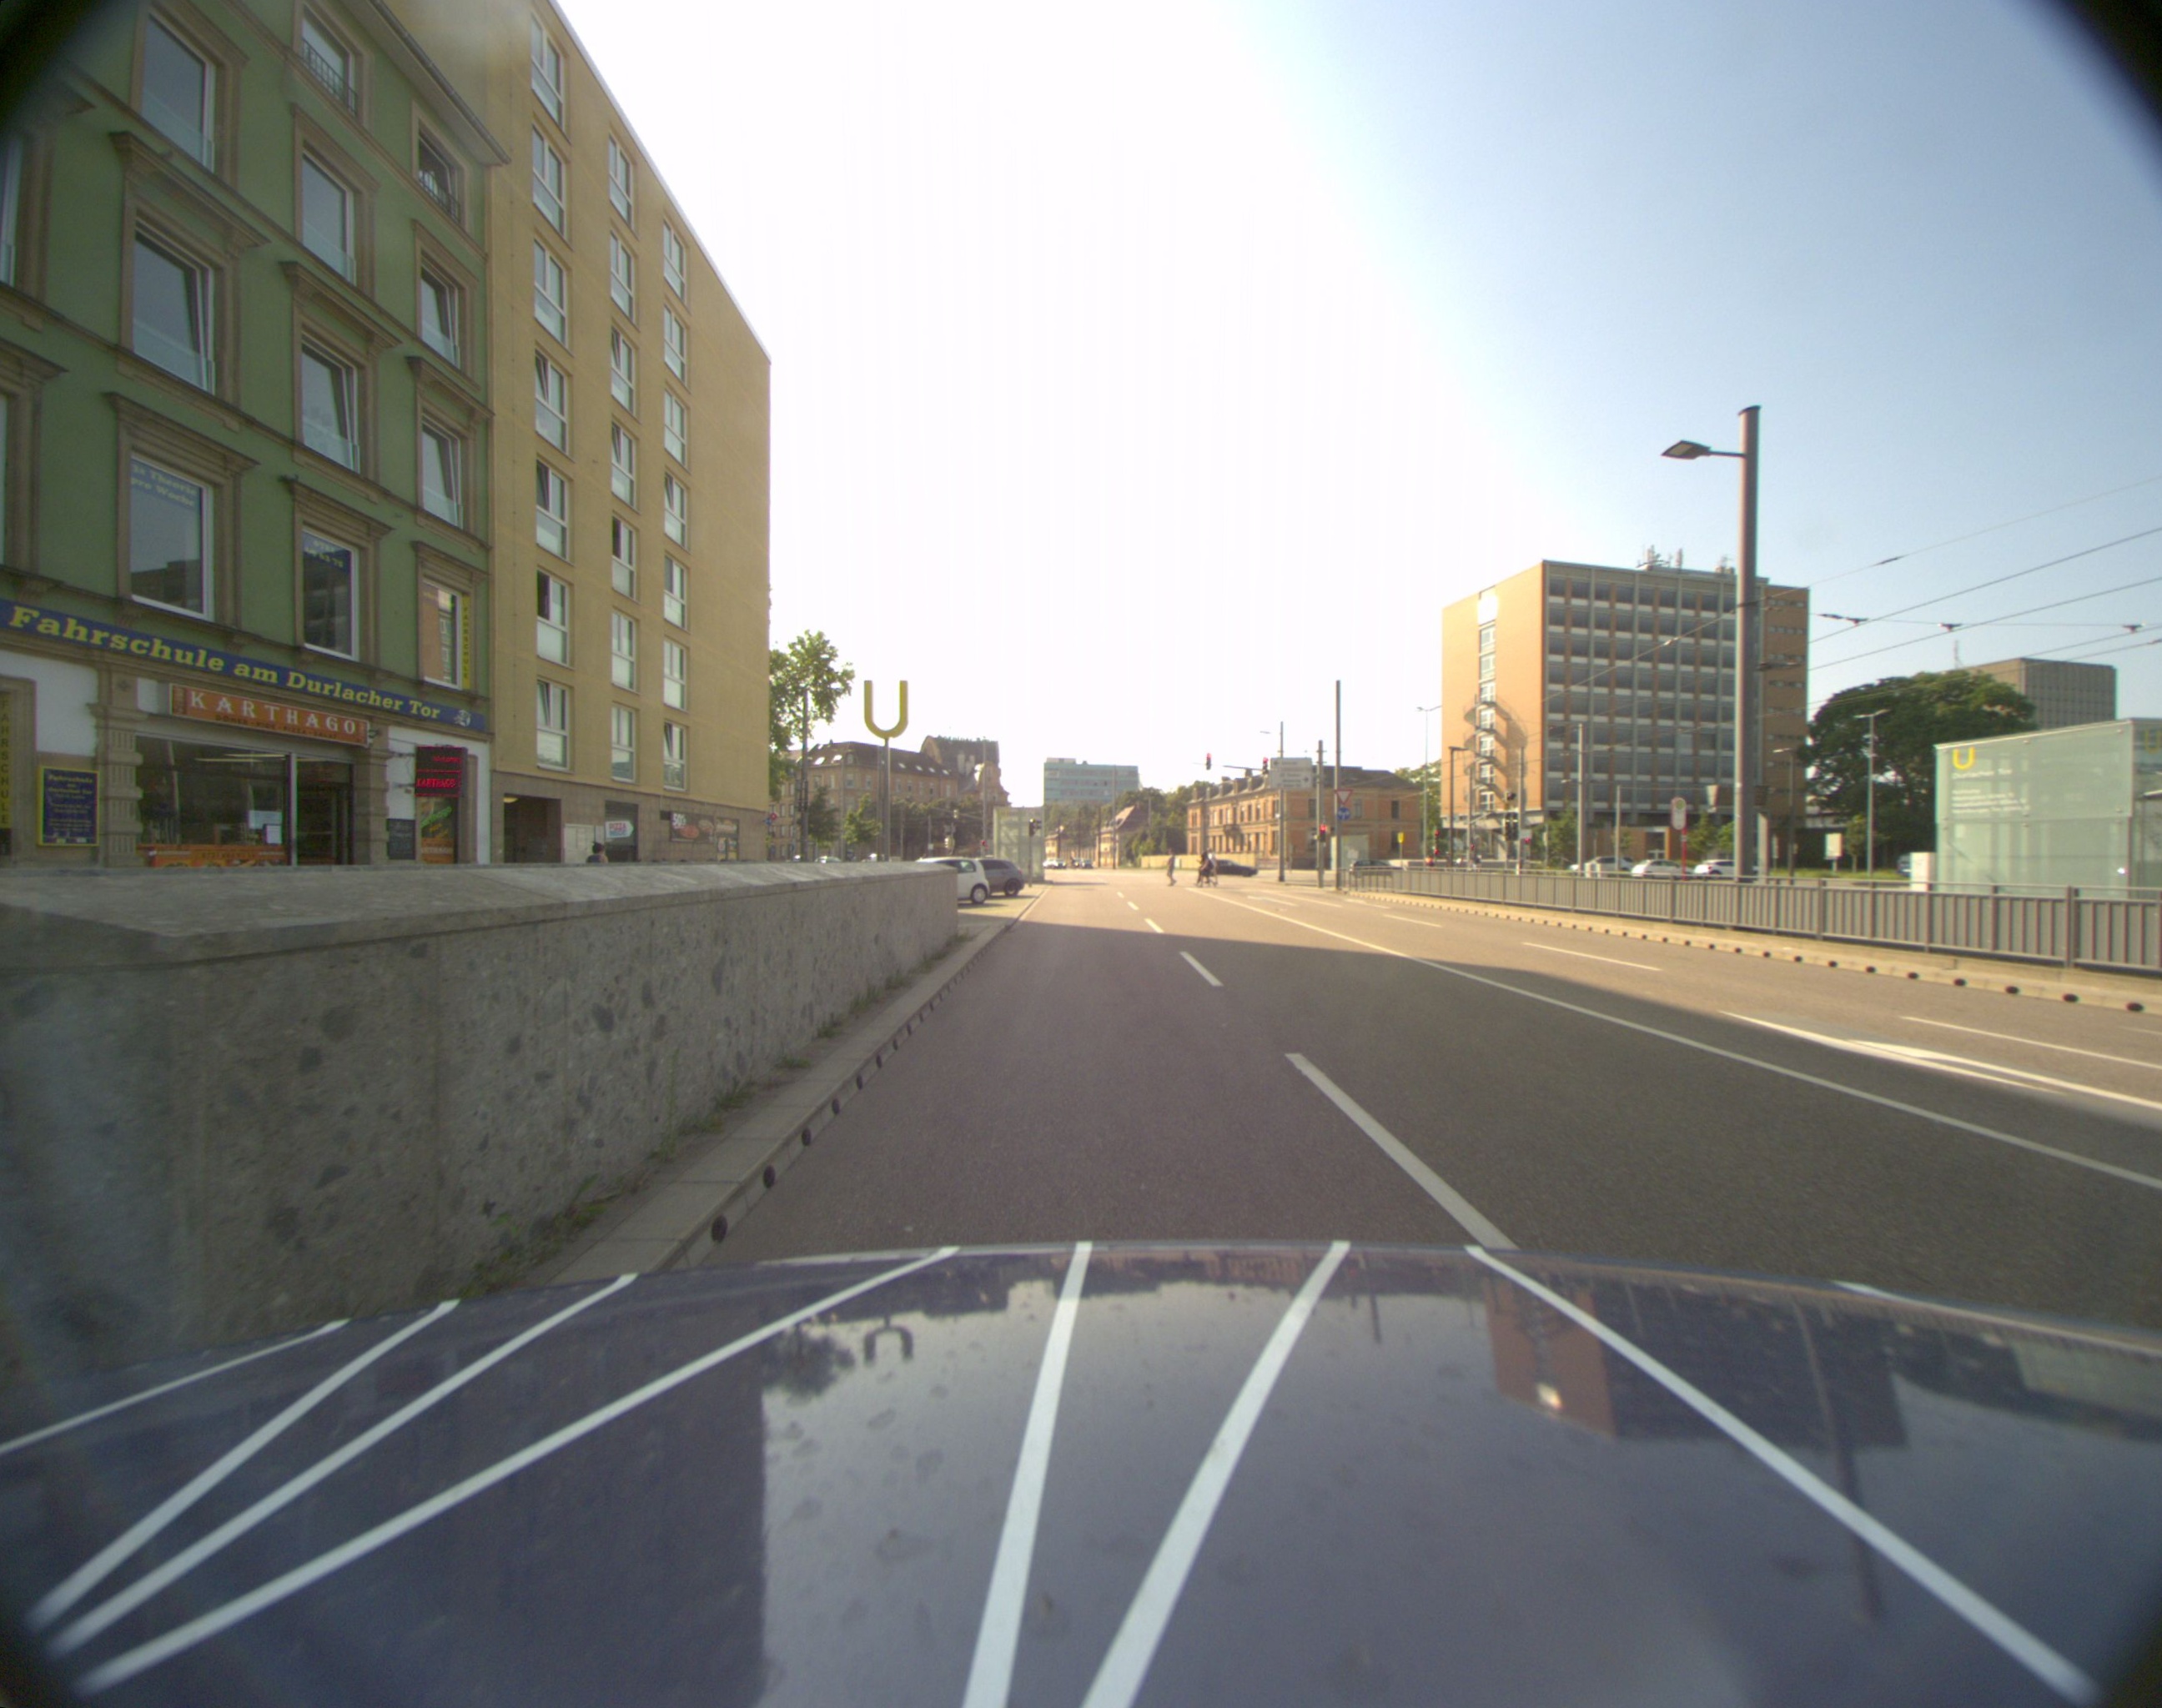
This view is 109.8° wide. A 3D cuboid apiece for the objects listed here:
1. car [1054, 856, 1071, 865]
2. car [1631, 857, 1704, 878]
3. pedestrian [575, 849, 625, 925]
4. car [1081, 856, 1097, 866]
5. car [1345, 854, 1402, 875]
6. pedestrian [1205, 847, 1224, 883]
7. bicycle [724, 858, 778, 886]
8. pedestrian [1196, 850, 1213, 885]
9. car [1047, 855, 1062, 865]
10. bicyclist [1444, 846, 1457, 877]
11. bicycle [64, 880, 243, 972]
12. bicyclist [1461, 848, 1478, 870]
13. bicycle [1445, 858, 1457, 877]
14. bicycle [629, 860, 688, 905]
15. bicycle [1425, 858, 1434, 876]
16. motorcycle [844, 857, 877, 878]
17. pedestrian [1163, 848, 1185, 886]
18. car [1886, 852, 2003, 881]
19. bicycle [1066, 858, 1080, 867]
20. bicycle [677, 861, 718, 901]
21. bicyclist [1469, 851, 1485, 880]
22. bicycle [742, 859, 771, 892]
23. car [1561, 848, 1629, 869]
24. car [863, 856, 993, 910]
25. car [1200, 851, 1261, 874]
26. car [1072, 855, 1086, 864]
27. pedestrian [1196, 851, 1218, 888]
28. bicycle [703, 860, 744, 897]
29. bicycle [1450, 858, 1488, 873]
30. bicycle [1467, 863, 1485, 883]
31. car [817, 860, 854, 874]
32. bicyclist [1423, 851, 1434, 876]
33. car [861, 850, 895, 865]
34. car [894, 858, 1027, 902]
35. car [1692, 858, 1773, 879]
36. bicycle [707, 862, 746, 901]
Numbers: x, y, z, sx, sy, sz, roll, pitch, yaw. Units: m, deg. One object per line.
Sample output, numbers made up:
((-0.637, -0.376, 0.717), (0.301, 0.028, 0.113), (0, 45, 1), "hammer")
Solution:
((-2.688, 0.937, 109.581), (1.927, 1.368, 3.997), (0, 0, -8), "car")
((40.689, 0.926, 52.779), (3.607, 1.407, 1.806), (0, 0, 20), "car")
((-10.365, 0.698, 16.392), (0.610, 1.619, 0.737), (0, 1, 0), "pedestrian")
((1.145, 0.940, 106.699), (1.693, 1.319, 3.997), (0, 0, -8), "car")
((22.277, 0.781, 57.867), (3.990, 1.586, 2.003), (0, 0, 23), "car")
((6.688, 0.553, 38.114), (0.834, 1.778, 0.729), (3, 1, 8), "pedestrian")
((-14.248, 0.762, 32.850), (2.022, 1.199, 0.671), (1, 0, 0), "bicycle")
((5.670, 0.633, 34.990), (0.634, 1.588, 0.468), (3, 1, -2), "pedestrian")
((-4.254, 0.942, 119.933), (1.927, 1.626, 3.997), (0, 0, -8), "car")
((24.045, 0.490, 49.427), (0.580, 1.963, 0.808), (0, 0, 15), "bicyclist")
((-12.910, 0.961, 10.662), (0.384, 1.127, 1.719), (0, 0, 1), "bicycle")
((25.808, 0.312, 50.523), (0.969, 1.466, 1.089), (1, 1, 25), "bicyclist")
((24.031, 0.865, 49.387), (0.376, 1.158, 1.861), (0, 0, 16), "bicycle")
((-12.389, 0.808, 22.349), (0.604, 1.254, 1.997), (0, 0, 0), "bicycle")
((22.756, 0.862, 49.618), (0.311, 1.158, 1.501), (0, 0, 16), "bicycle")
((-12.780, 0.763, 44.061), (0.704, 1.140, 2.304), (0, 0, 16), "motorcycle")
((4.227, 0.579, 34.580), (0.816, 1.683, 0.651), (3, 1, 0), "pedestrian")
((56.544, 0.811, 49.876), (4.761, 1.817, 1.806), (0, 0, 23), "car")
((-0.996, 1.054, 94.594), (1.770, 1.187, 0.401), (0, 1, 5), "bicycle")
((-12.537, 0.856, 24.893), (0.604, 1.254, 1.996), (0, 0, -8), "bicycle")
((22.817, 0.641, 43.813), (0.588, 1.647, 0.791), (0, 1, 10), "bicyclist")
((-12.875, 0.847, 30.193), (0.470, 1.254, 1.636), (0, 0, -1), "bicycle")
((42.627, 0.394, 63.150), (4.281, 1.696, 1.955), (0, -2, 16), "car")
((-4.626, 0.825, 23.177), (3.535, 1.455, 1.618), (-1, 1, -42), "car")
((12.132, 0.656, 61.587), (4.564, 1.841, 2.003), (0, 0, 22), "car")
((-0.316, 0.865, 112.887), (1.693, 1.319, 3.997), (0, 0, -8), "car")
((5.508, 0.671, 33.152), (0.810, 1.539, 0.548), (3, 1, 1), "pedestrian")
((-12.678, 0.856, 27.028), (0.604, 1.254, 1.849), (0, 0, -1), "bicycle")
((25.773, 0.762, 50.496), (2.192, 0.983, 0.530), (1, 2, 24), "bicycle")
((22.753, 1.065, 43.811), (0.402, 1.103, 1.748), (0, 0, 11), "bicycle")
((-26.569, 1.352, 82.201), (3.621, 1.433, 1.807), (0, 0, 31), "car")
((22.690, 0.619, 49.576), (0.511, 1.620, 0.808), (0, 0, 15), "bicyclist")
((-27.303, 0.453, 102.036), (4.278, 1.875, 1.799), (0, -2, 28), "car")
((-4.239, 0.867, 27.185), (4.418, 1.415, 1.842), (-1, 1, -42), "car")
((46.592, 1.038, 54.416), (3.990, 1.407, 1.806), (0, 0, 21), "car")
((-11.826, 0.890, 25.414), (0.604, 1.254, 1.996), (0, 0, -8), "bicycle")
